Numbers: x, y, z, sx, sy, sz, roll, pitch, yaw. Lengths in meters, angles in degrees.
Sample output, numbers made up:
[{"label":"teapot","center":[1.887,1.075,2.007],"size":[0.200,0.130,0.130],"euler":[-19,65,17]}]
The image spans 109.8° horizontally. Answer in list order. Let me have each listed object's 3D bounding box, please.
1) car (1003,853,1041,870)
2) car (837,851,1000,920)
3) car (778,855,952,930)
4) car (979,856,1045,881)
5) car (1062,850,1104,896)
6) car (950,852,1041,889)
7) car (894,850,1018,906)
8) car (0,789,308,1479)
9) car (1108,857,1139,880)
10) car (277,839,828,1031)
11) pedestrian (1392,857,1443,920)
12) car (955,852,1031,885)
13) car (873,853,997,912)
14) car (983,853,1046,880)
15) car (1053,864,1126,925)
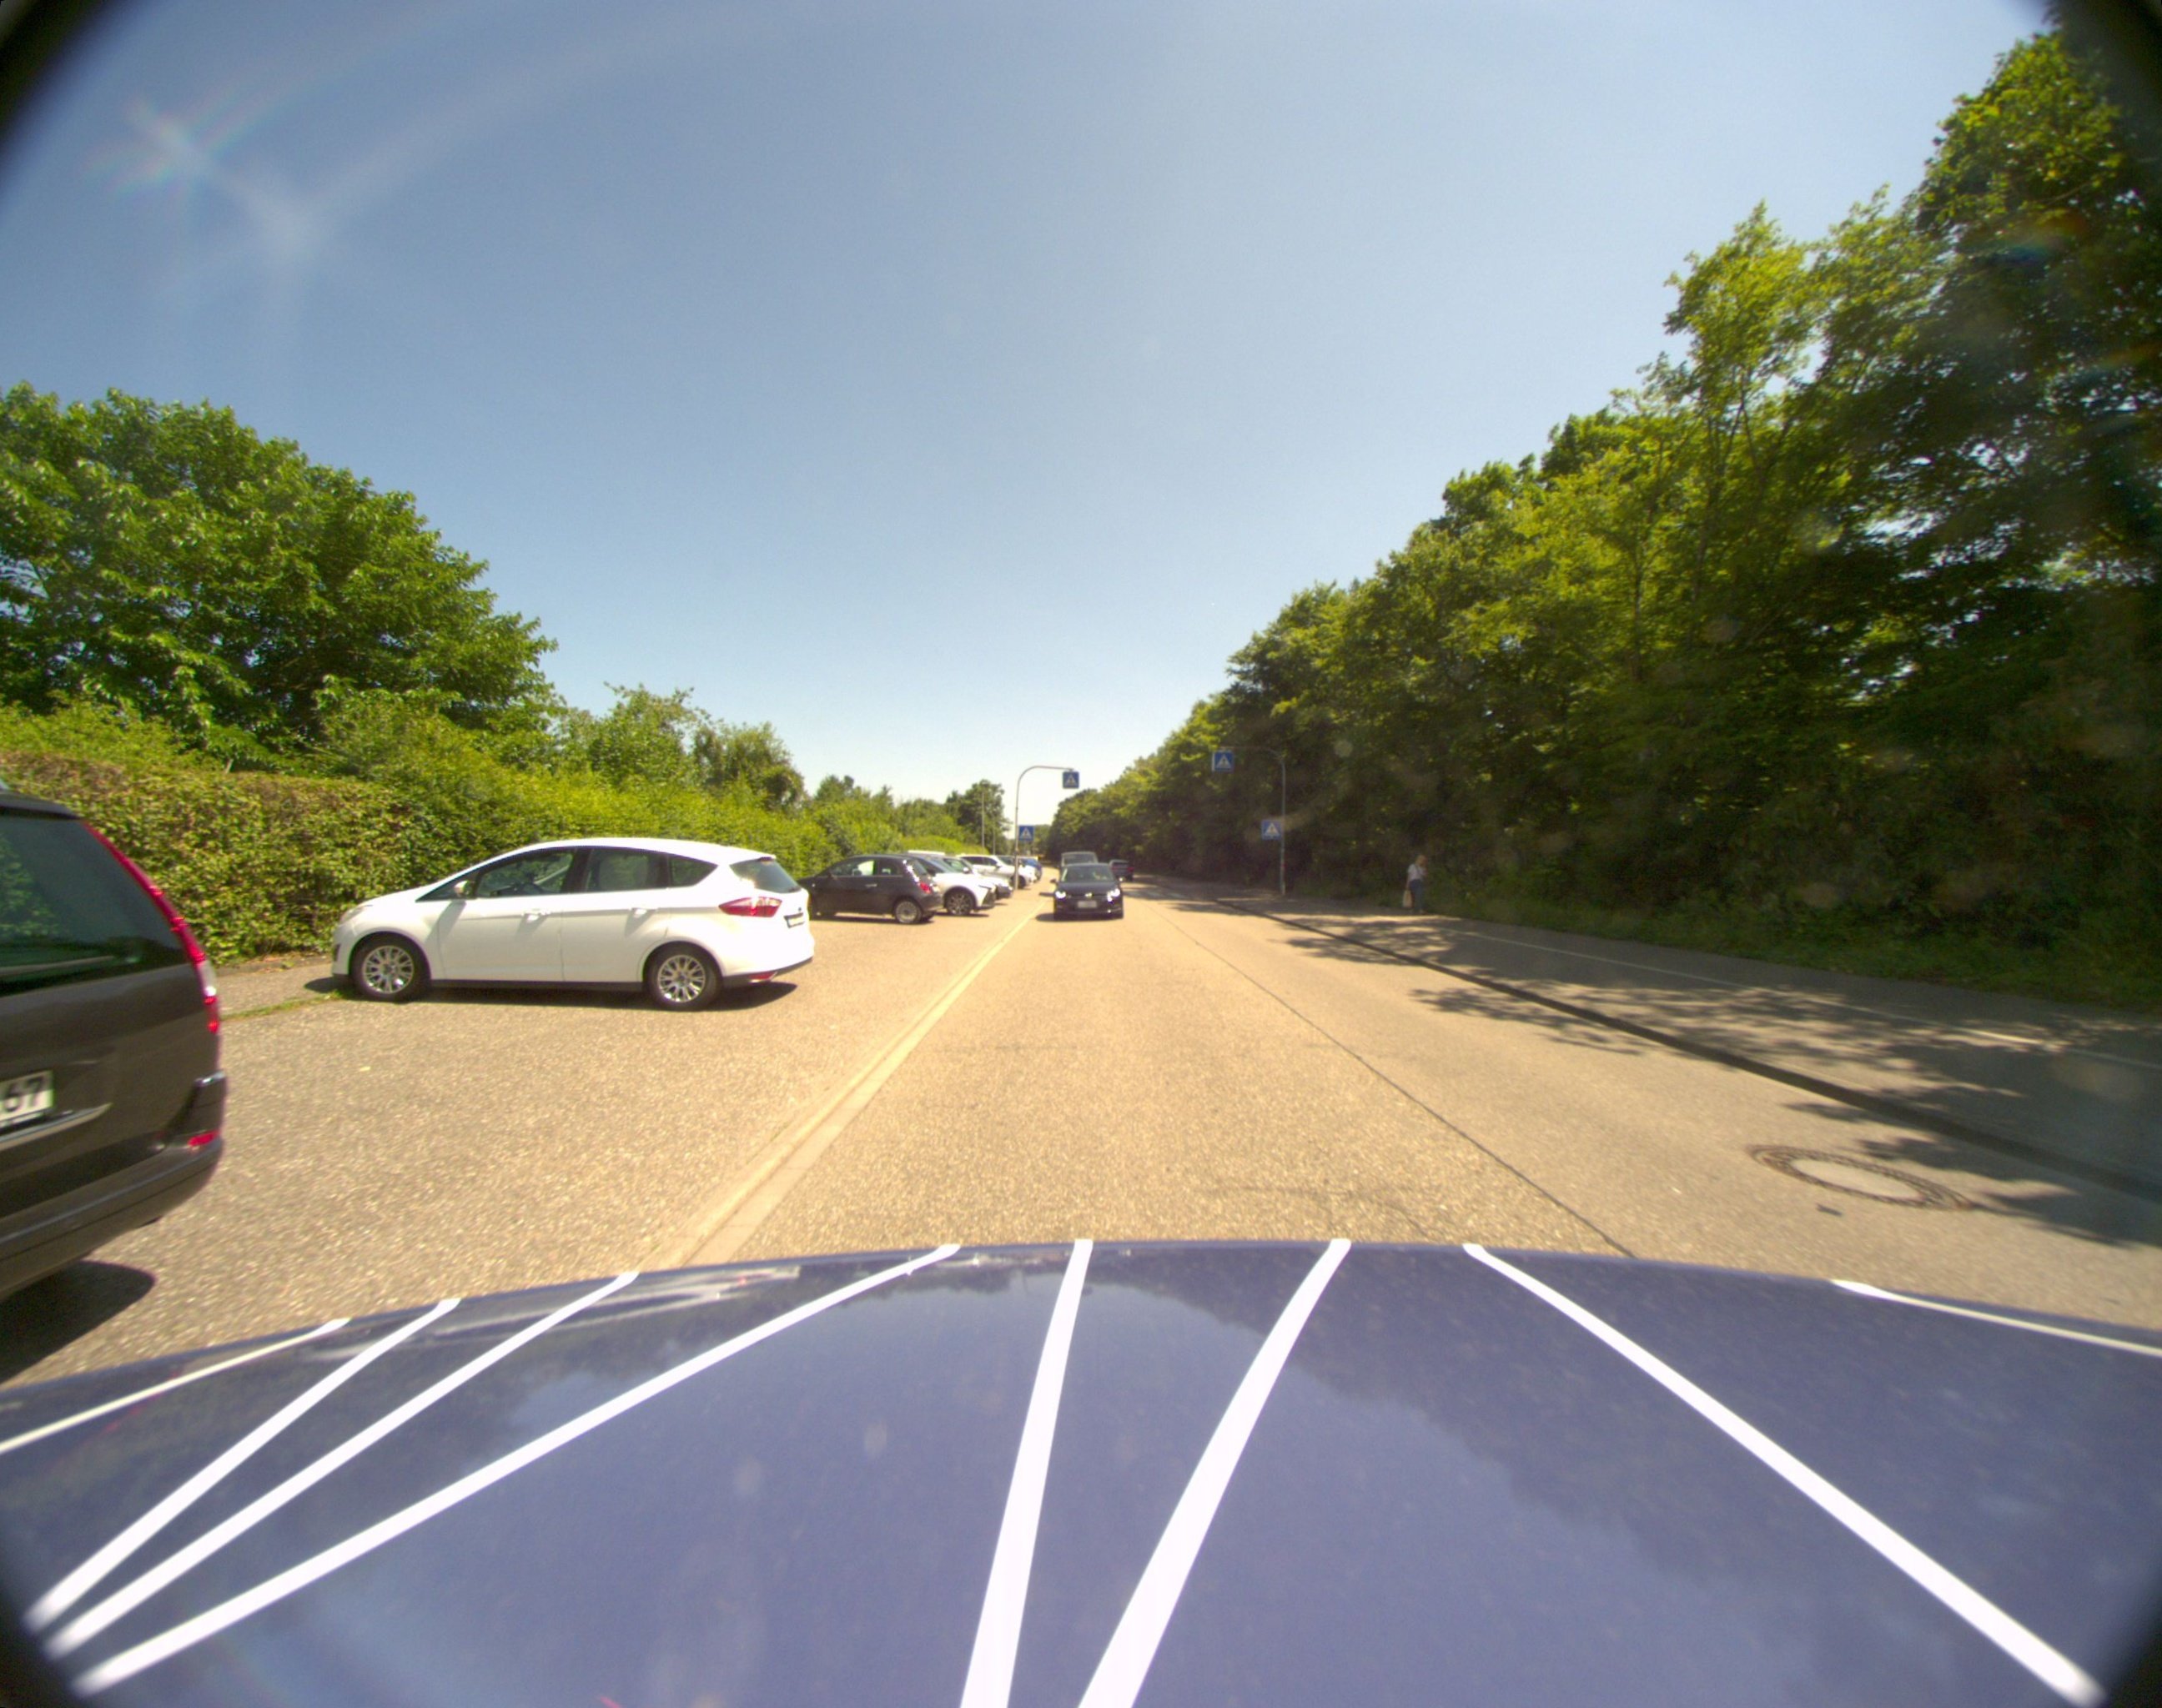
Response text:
[{"label":"car","center":[-7.312,0.952,94.209],"size":[4.494,1.840,1.694],"euler":[3,0,-5]},{"label":"car","center":[-4.218,0.819,20.280],"size":[3.974,1.514,1.863],"euler":[4,0,-6]},{"label":"car","center":[-4.814,0.846,17.209],"size":[3.395,1.495,1.588],"euler":[2,0,3]},{"label":"car","center":[-4.378,0.920,48.792],"size":[4.037,1.401,1.679],"euler":[3,0,-2]},{"label":"car","center":[0.030,0.818,34.777],"size":[1.743,1.905,4.387],"euler":[-1,0,-2]},{"label":"car","center":[-4.352,0.832,39.216],"size":[4.465,1.719,1.851],"euler":[2,1,0]},{"label":"car","center":[-4.213,0.813,26.090],"size":[3.972,1.631,1.663],"euler":[4,0,-4]},{"label":"car","center":[-4.986,0.637,1.616],"size":[4.466,1.794,1.951],"euler":[2,1,-4]},{"label":"car","center":[3.194,1.078,57.763],"size":[1.896,1.523,4.196],"euler":[4,0,-1]},{"label":"car","center":[-5.042,0.751,7.751],"size":[4.287,1.569,1.765],"euler":[2,0,-2]},{"label":"pedestrian","center":[8.814,0.877,19.946],"size":[0.934,1.603,0.885],"euler":[-1,1,-1]},{"label":"car","center":[-4.796,0.789,41.913],"size":[3.983,1.676,1.766],"euler":[2,0,-1]},{"label":"car","center":[-4.367,0.843,23.093],"size":[3.463,1.518,1.539],"euler":[4,0,-5]},{"label":"car","center":[-4.494,0.822,51.701],"size":[4.036,1.632,1.673],"euler":[3,0,-1]},{"label":"car","center":[0.136,1.017,20.645],"size":[1.743,1.396,4.387],"euler":[-1,0,-2]}]
